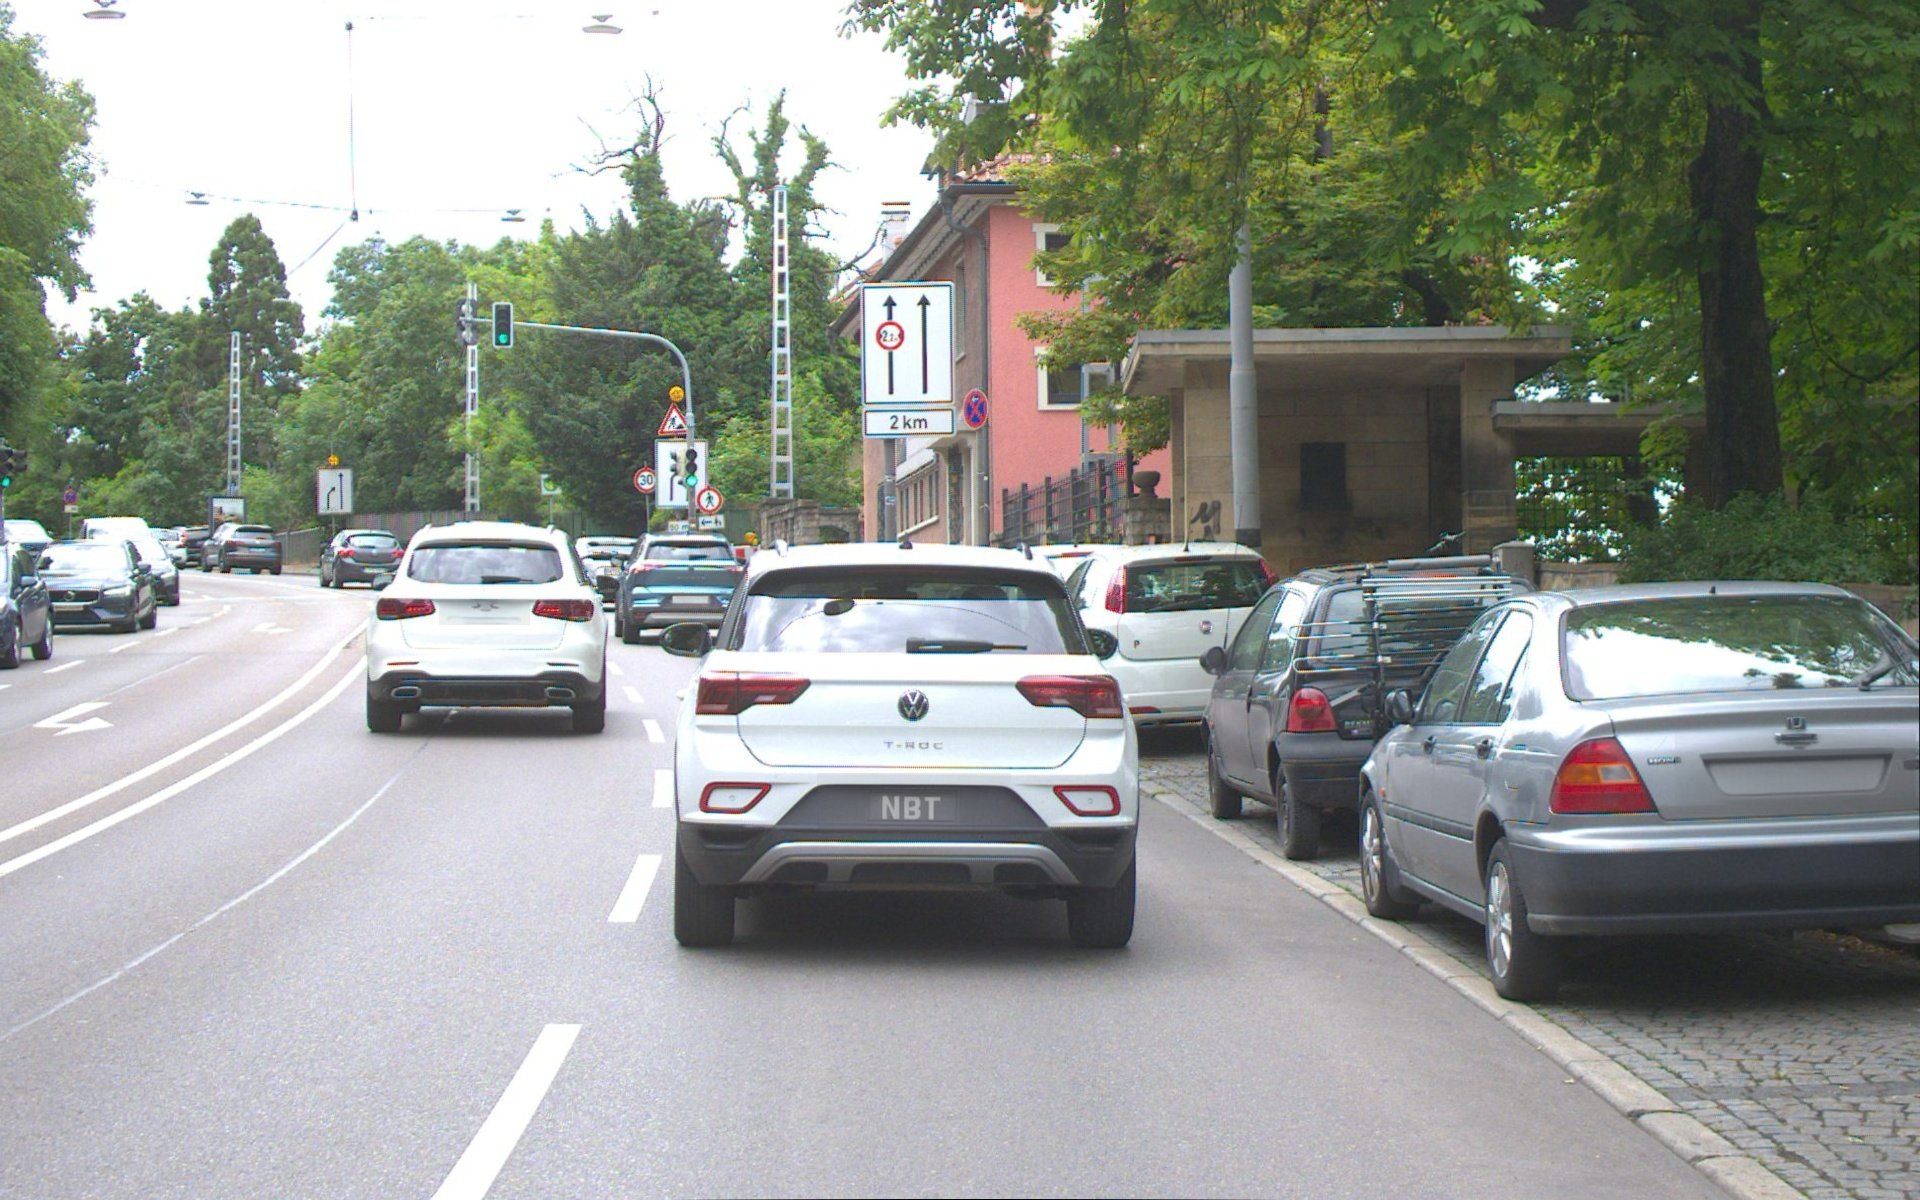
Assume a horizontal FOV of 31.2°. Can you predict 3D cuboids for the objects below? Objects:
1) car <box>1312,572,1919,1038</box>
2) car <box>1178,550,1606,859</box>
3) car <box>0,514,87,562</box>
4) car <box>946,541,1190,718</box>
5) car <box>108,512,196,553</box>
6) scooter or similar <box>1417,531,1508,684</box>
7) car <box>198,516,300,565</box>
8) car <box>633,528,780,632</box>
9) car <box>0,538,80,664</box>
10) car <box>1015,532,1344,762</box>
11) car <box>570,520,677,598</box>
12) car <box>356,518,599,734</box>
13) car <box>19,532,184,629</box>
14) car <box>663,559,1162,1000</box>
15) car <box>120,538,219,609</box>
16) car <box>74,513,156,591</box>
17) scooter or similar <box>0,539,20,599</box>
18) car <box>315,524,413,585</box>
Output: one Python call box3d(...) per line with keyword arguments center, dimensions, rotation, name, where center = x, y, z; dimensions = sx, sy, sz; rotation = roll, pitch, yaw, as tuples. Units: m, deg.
box3d(center=(2.539, 0.614, 12.917), dimensions=(1.770, 1.394, 4.551), rotation=(-1, 1, -2), name="car")
box3d(center=(2.211, 0.485, 18.404), dimensions=(1.561, 1.417, 3.425), rotation=(-3, 1, -4), name="car")
box3d(center=(-32.086, -2.163, 120.107), dimensions=(1.849, 1.626, 4.361), rotation=(0, 2, -32), name="car")
box3d(center=(0.912, 0.213, 31.439), dimensions=(1.675, 1.456, 4.366), rotation=(-2, 1, -5), name="car")
box3d(center=(-29.663, -2.457, 126.175), dimensions=(1.993, 1.445, 4.151), rotation=(0, 0, -31), name="car")
box3d(center=(4.288, 0.054, 29.373), dimensions=(0.516, 1.256, 1.168), rotation=(-3, 1, -2), name="scooter or similar")
box3d(center=(-23.635, -1.963, 114.161), dimensions=(1.993, 1.570, 4.150), rotation=(0, 0, -32), name="car")
box3d(center=(-3.578, -0.283, 48.924), dimensions=(1.993, 1.409, 4.151), rotation=(-1, 0, -3), name="car")
box3d(center=(-11.758, -0.009, 40.850), dimensions=(1.842, 1.431, 4.001), rotation=(-1, 1, -5), name="car")
box3d(center=(1.556, 0.283, 25.789), dimensions=(1.715, 1.466, 4.039), rotation=(-4, 2, -6), name="car")
box3d(center=(-6.528, -0.782, 66.530), dimensions=(1.993, 1.445, 4.151), rotation=(0, 0, -6), name="car")
box3d(center=(-3.882, 0.192, 28.157), dimensions=(1.757, 1.604, 3.796), rotation=(2, 0, -5), name="car")
box3d(center=(-13.312, -0.322, 53.519), dimensions=(1.842, 1.404, 4.457), rotation=(-1, 1, -6), name="car")
box3d(center=(-0.275, 0.643, 14.292), dimensions=(1.757, 1.550, 3.796), rotation=(2, 0, -3), name="car")
box3d(center=(-16.516, -0.577, 71.950), dimensions=(1.562, 1.397, 4.254), rotation=(-2, 1, -7), name="car")
box3d(center=(-21.233, -1.187, 86.307), dimensions=(1.892, 1.842, 4.398), rotation=(2, 0, -14), name="car")
box3d(center=(-20.123, -0.670, 71.344), dimensions=(0.434, 1.233, 1.096), rotation=(4, -1, 33), name="scooter or similar")
box3d(center=(-14.722, -1.112, 84.769), dimensions=(1.780, 1.449, 4.001), rotation=(1, 0, -18), name="car")
